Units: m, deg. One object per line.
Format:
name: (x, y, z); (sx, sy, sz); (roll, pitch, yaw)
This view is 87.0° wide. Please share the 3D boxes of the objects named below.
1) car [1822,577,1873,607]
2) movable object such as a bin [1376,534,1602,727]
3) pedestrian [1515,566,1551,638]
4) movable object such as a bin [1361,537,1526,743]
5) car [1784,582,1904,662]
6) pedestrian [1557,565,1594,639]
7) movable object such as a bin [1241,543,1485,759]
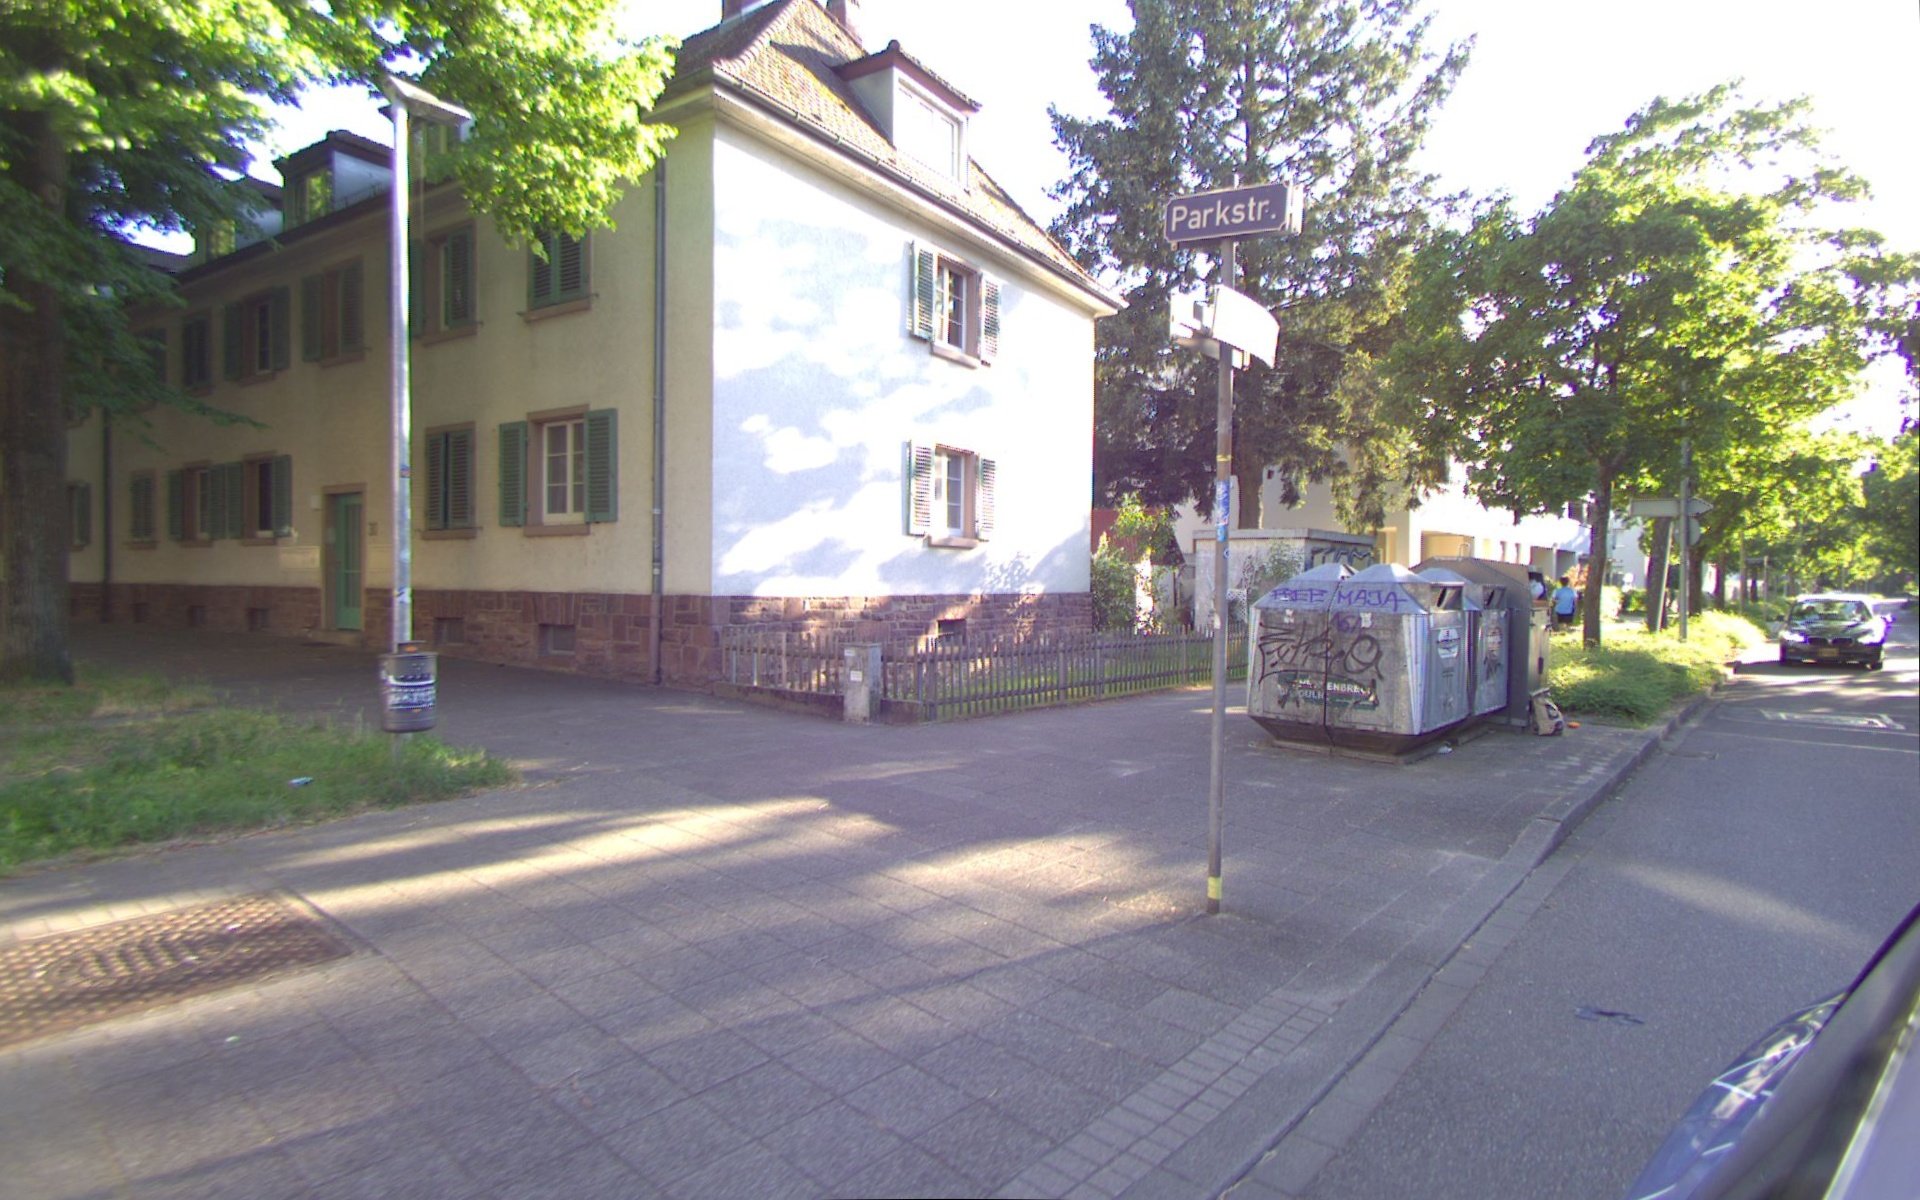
car: (48.333, -0.443, 55.106); (1.992, 1.559, 3.939); (0, 1, 42)
movable object such as a bin: (5.741, 0.289, 11.014); (1.918, 1.877, 1.373); (0, 0, 41)
pedestrian: (15.570, 0.035, 27.490); (0.641, 1.918, 1.003); (-1, 0, 41)
movable object such as a bin: (4.786, 0.348, 9.990); (1.146, 1.850, 1.366); (-1, 0, 41)
car: (20.257, 0.419, 23.350); (1.881, 1.642, 4.554); (0, 1, 39)
pedestrian: (16.270, 0.056, 26.747); (0.672, 1.918, 0.882); (-1, 0, 41)
movable object such as a bin: (3.597, 0.386, 9.008); (1.584, 1.678, 1.616); (0, 0, 41)
